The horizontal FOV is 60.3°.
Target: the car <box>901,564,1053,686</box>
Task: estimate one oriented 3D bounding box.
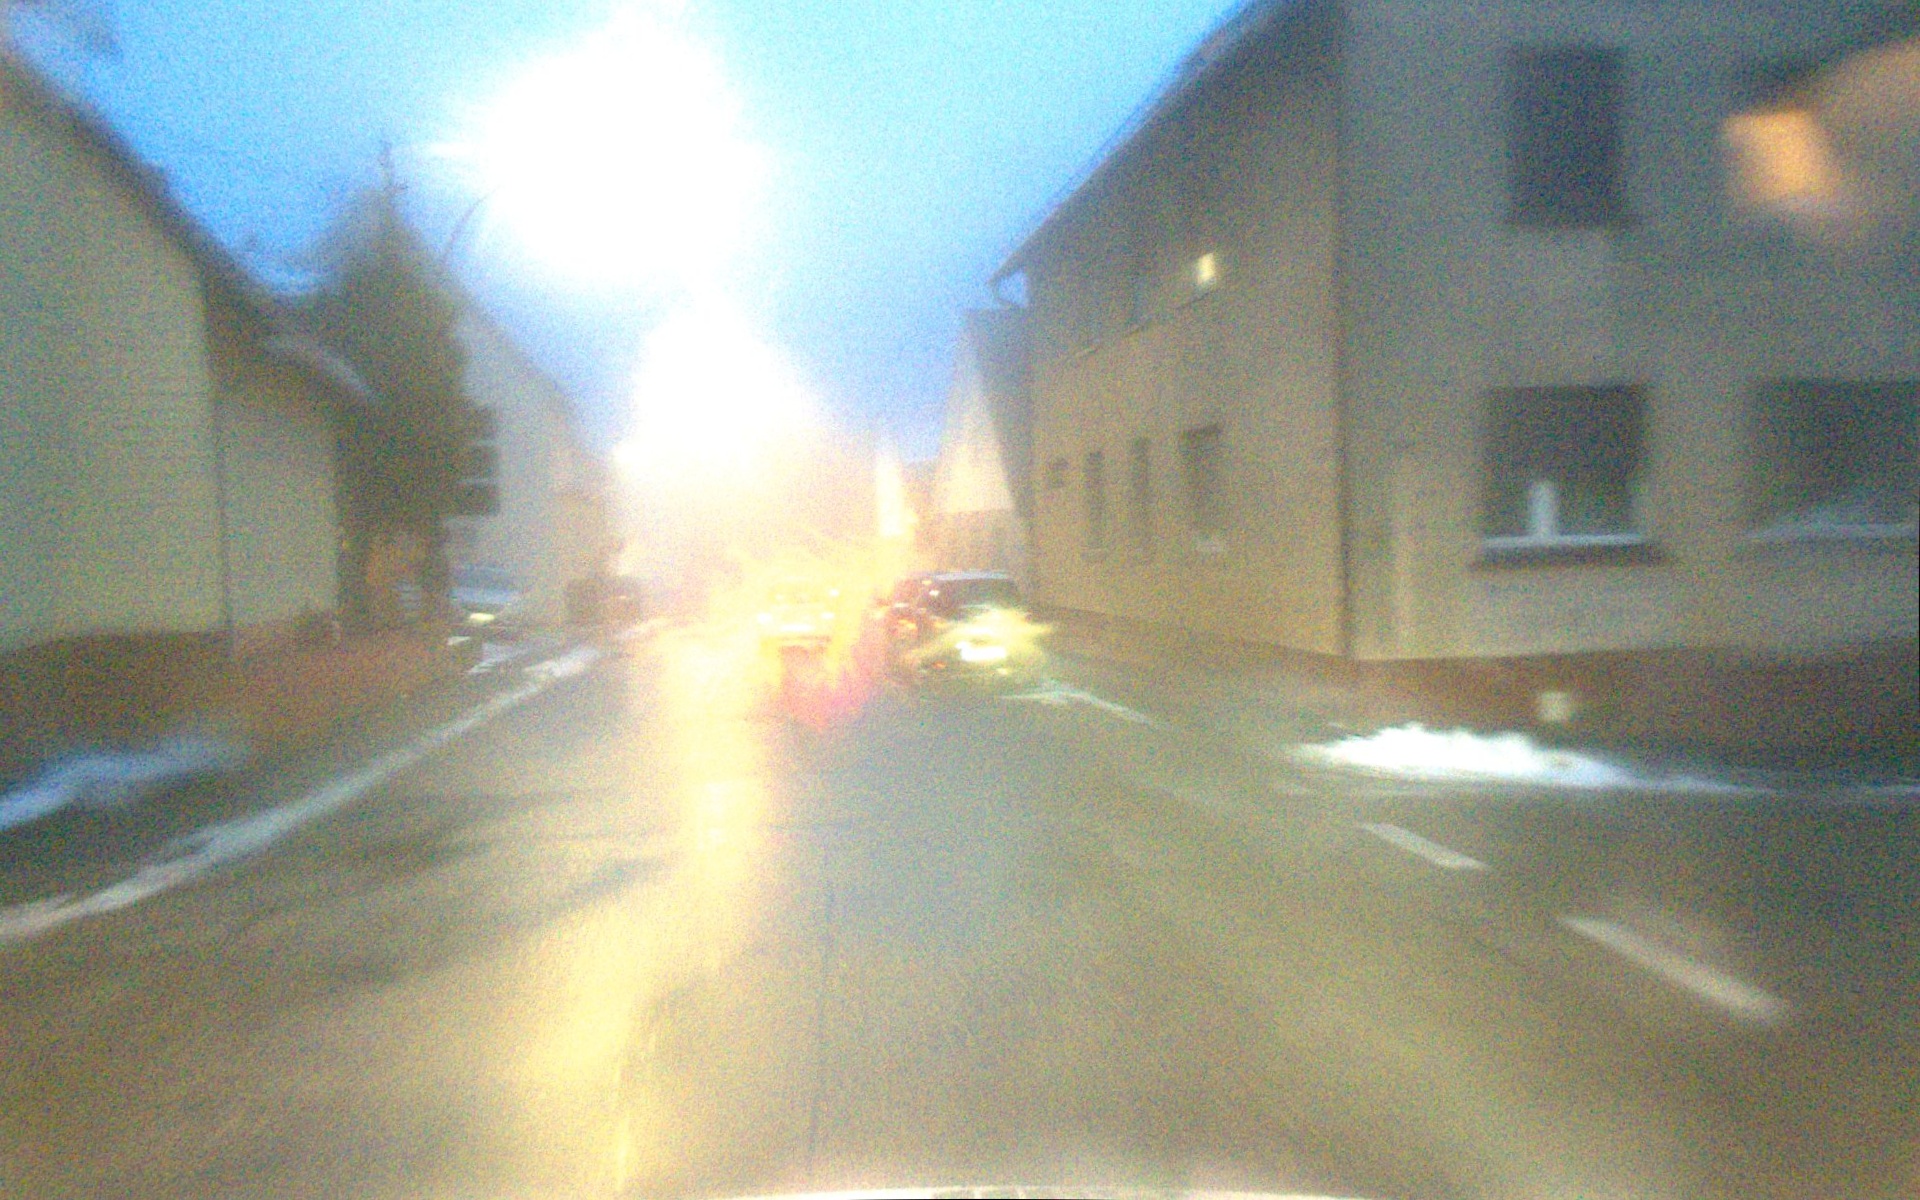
[{"bbox_3d":[0.150,0.305,22.793,1.683,1.526,3.902,1,0,-5],"label":"car"}]

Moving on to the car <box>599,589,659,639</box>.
[{"bbox_3d":[-11.554,0.469,57.915,1.958,1.549,4.180,0,2,-11],"label":"car"}]

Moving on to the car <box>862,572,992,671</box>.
[{"bbox_3d":[-0.638,0.322,28.153,1.873,1.507,4.277,-2,0,-5],"label":"car"}]

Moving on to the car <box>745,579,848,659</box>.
[{"bbox_3d":[-3.297,0.392,33.878,1.954,1.534,3.996,1,-1,-4],"label":"car"}]

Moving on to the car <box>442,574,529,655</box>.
[{"bbox_3d":[-11.417,0.313,40.033,1.734,1.767,4.623,3,0,-14],"label":"car"}]
